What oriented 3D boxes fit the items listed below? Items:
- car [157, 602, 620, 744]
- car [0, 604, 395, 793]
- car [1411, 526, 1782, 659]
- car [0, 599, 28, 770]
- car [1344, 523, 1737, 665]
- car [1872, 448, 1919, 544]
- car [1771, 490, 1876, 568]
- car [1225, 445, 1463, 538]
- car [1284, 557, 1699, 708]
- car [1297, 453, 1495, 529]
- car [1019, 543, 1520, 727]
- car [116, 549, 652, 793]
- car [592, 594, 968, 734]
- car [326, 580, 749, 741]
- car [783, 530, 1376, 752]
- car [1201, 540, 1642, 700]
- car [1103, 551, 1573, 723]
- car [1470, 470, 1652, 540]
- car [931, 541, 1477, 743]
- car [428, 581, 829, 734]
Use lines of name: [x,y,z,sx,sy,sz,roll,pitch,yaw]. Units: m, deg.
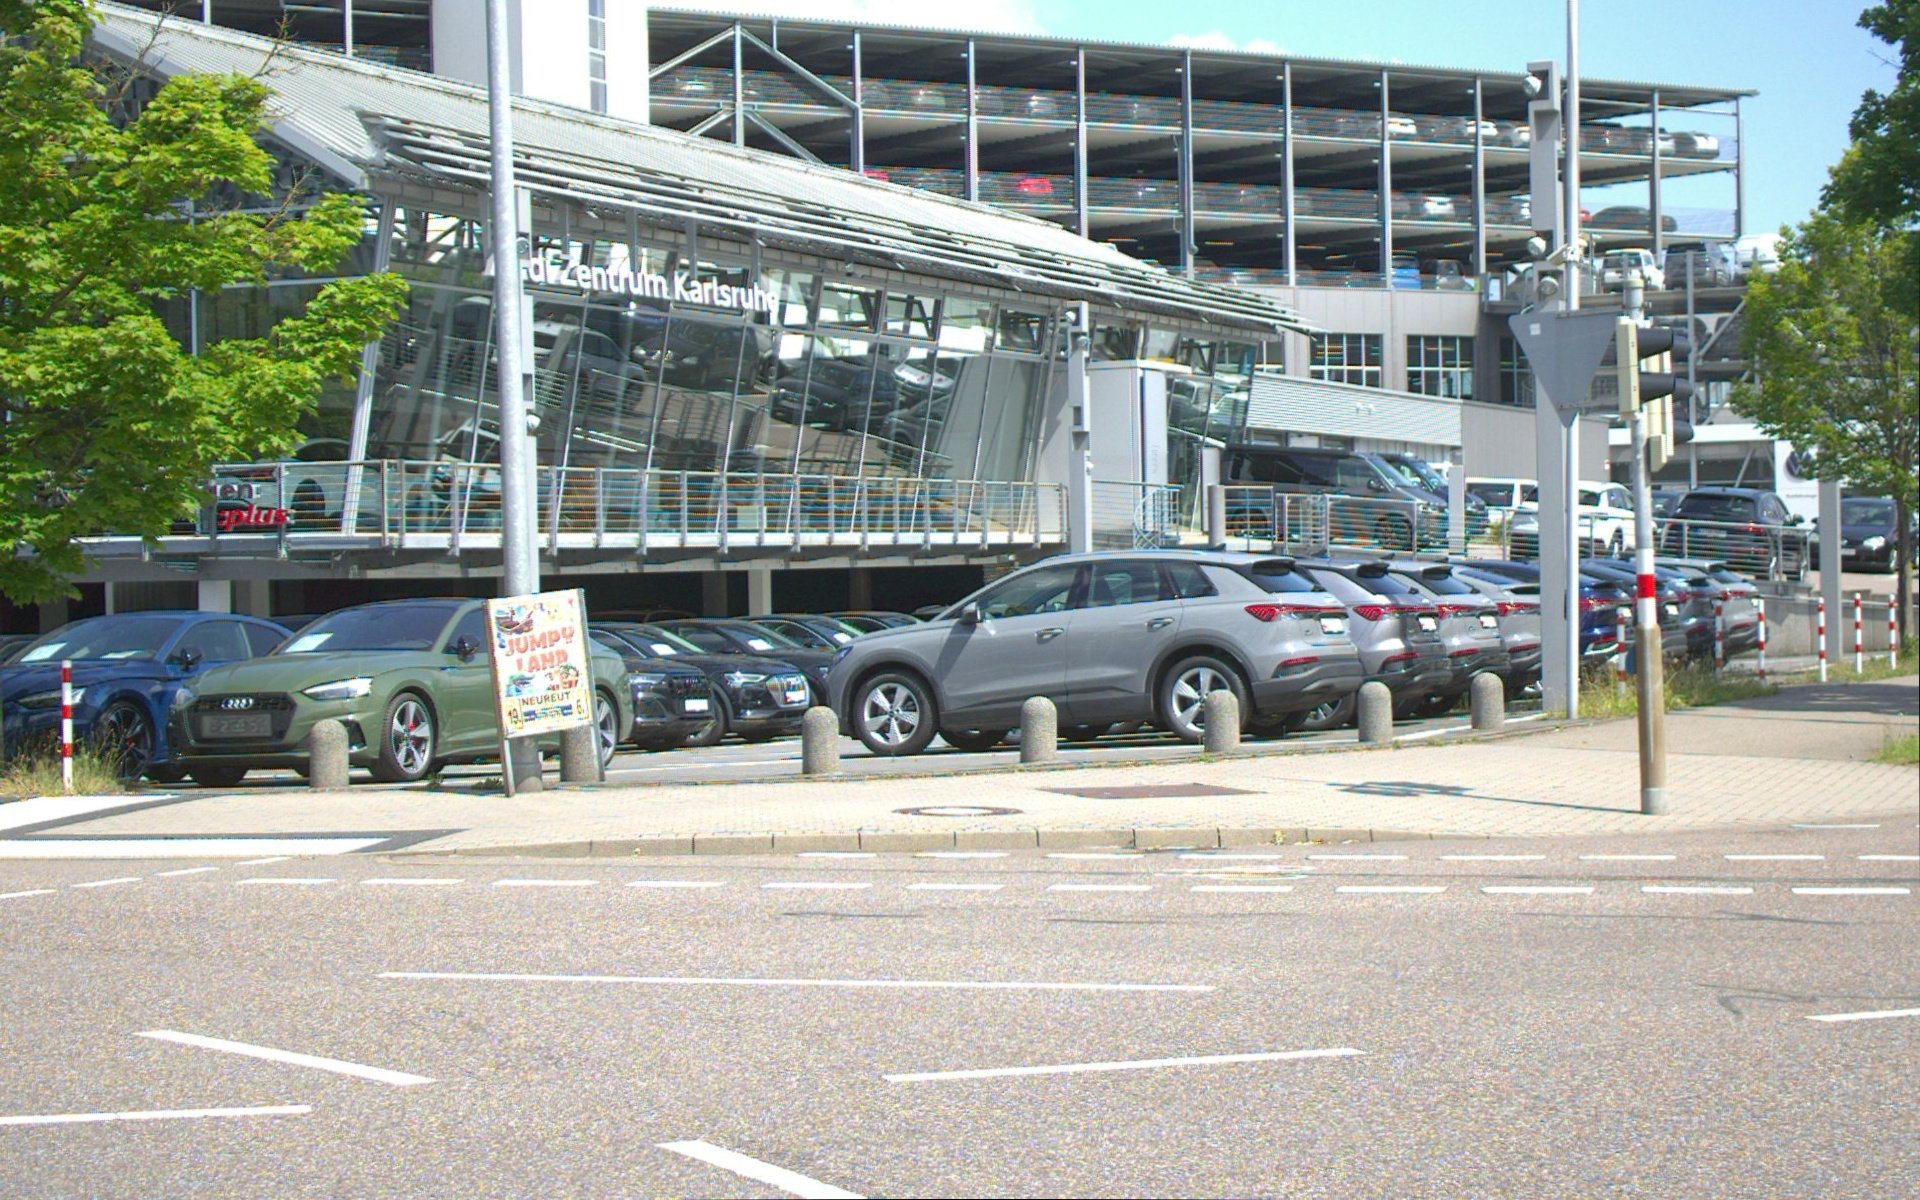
car: [-6.367,0.828,38.310,4.746,1.506,1.982,0,-2,22]
car: [-6.600,0.724,27.654,1.903,1.293,4.584,1,1,23]
car: [8.606,-0.122,46.504,4.581,1.672,1.905,1,1,24]
car: [-10.597,0.722,29.792,4.746,1.459,1.794,0,-2,22]
car: [7.399,-0.103,43.864,4.581,1.672,1.905,1,1,24]
car: [23.306,-2.234,74.966,6.395,2.095,1.763,1,1,23]
car: [17.616,-1.430,70.089,1.563,1.546,3.598,1,1,22]
car: [7.746,-2.197,69.340,4.446,1.795,1.763,1,1,22]
car: [6.407,0.356,41.473,4.581,1.672,1.905,1,1,24]
car: [9.395,-2.347,74.068,3.990,1.546,1.764,1,1,16]
car: [3.082,0.307,34.276,4.581,1.672,1.905,1,1,24]
car: [-4.295,0.468,26.454,1.903,1.672,4.584,1,1,23]
car: [-2.388,0.813,45.432,4.581,1.672,1.905,1,1,24]
car: [-4.989,0.673,40.646,4.543,1.734,1.998,1,1,21]
car: [1.001,0.356,29.063,4.580,1.672,1.905,-2,-1,24]
car: [5.230,0.192,39.010,4.581,1.672,1.905,1,1,24]
car: [4.011,0.352,36.572,4.581,1.672,1.905,1,1,24]
car: [13.963,-2.193,79.874,3.990,1.546,1.764,1,1,16]
car: [2.222,0.338,31.418,4.581,1.672,1.905,1,1,24]
car: [-4.132,0.681,42.940,4.543,1.734,1.998,1,1,21]
